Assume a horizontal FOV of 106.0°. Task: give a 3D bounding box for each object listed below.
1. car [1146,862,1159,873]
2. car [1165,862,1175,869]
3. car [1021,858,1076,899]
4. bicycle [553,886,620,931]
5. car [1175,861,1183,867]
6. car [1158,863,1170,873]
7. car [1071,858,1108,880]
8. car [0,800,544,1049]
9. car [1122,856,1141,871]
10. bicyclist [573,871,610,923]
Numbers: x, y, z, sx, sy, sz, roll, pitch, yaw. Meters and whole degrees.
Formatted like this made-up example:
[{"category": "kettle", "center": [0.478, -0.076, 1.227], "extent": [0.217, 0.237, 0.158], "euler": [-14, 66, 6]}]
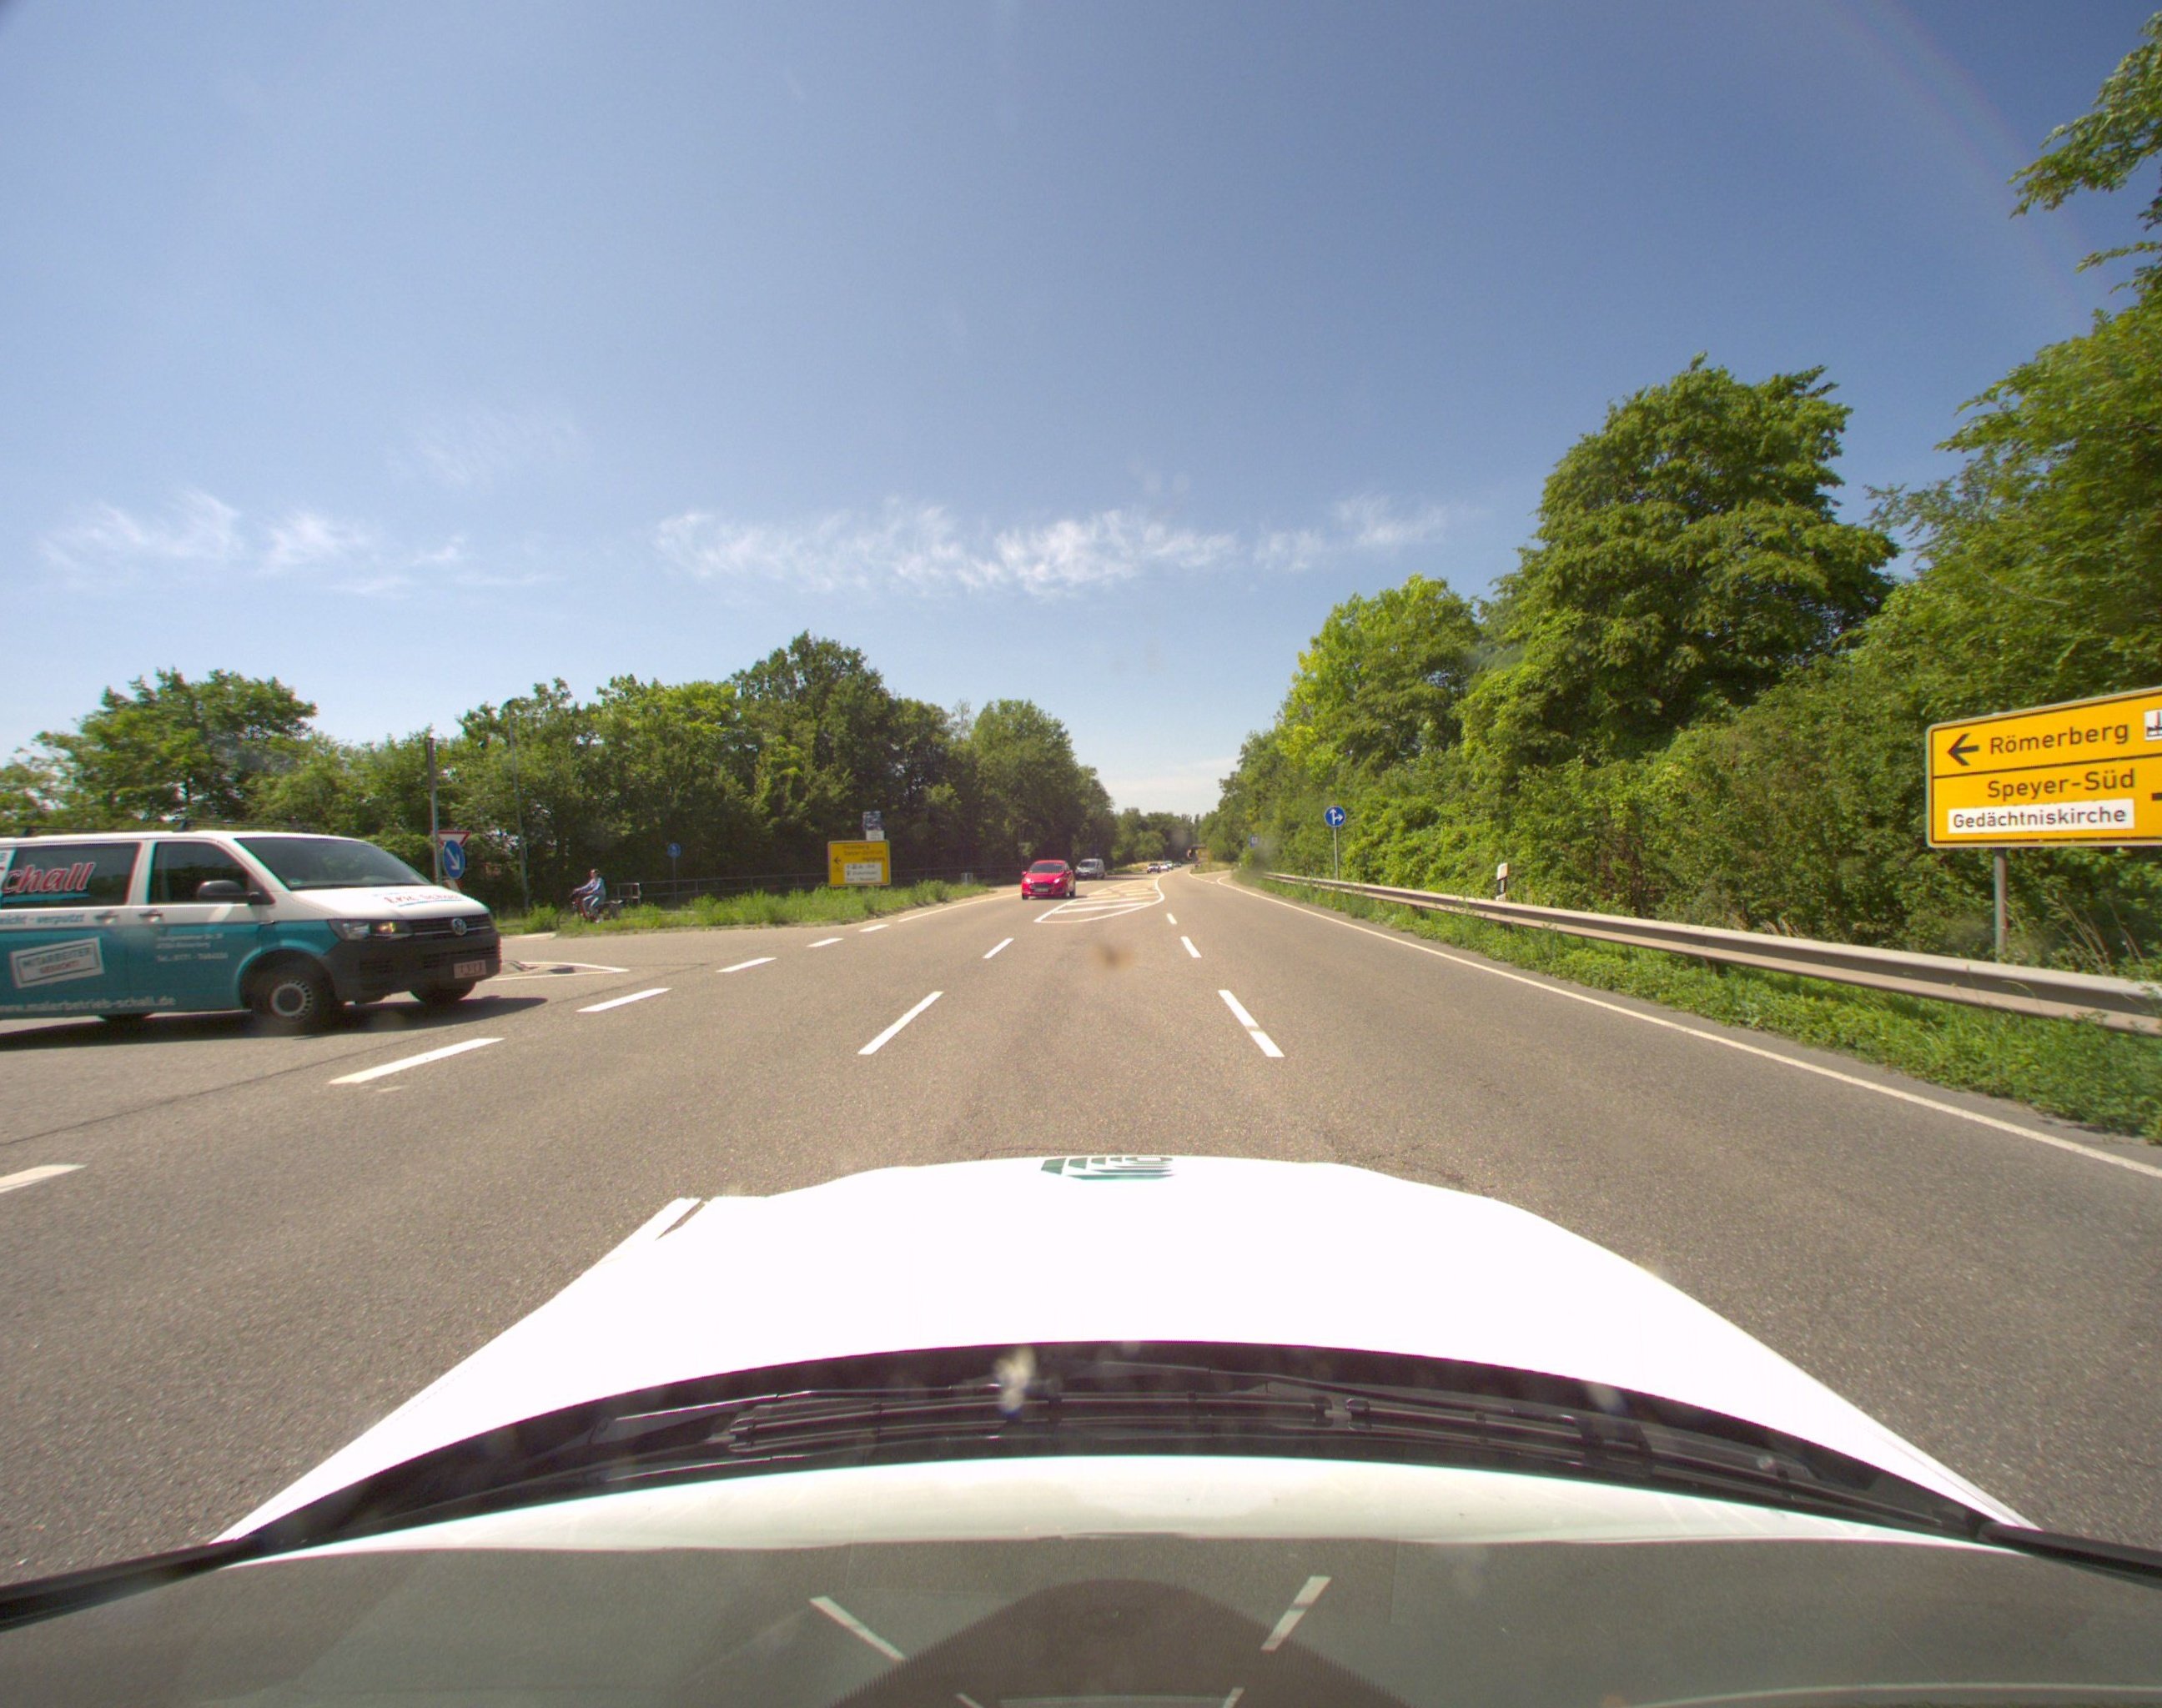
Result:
[{"category": "car", "center": [11.388, 2.128, 129.620], "extent": [1.667, 1.527, 4.011], "euler": [-2, 0, 10]}, {"category": "car", "center": [18.431, 2.374, 168.330], "extent": [1.710, 1.528, 3.718], "euler": [-2, 0, 9]}, {"category": "car", "center": [-1.196, 0.916, 31.424], "extent": [1.803, 1.458, 3.759], "euler": [-1, 0, 2]}, {"category": "bicycle", "center": [-13.286, 1.456, 21.919], "extent": [0.431, 1.113, 1.491], "euler": [-2, -1, 36]}, {"category": "car", "center": [24.704, 2.592, 205.723], "extent": [1.710, 1.509, 3.718], "euler": [-2, 0, 9]}, {"category": "car", "center": [14.741, 2.490, 144.754], "extent": [1.667, 1.527, 4.011], "euler": [-2, 0, 10]}, {"category": "car", "center": [0.773, 1.222, 69.134], "extent": [1.978, 1.730, 4.292], "euler": [-2, 0, 15]}, {"category": "car", "center": [-8.763, 0.671, 8.256], "extent": [5.155, 2.027, 1.999], "euler": [-3, 0, -1]}, {"category": "car", "center": [11.105, 2.120, 178.063], "extent": [2.004, 3.226, 4.767], "euler": [-1, 0, -26]}, {"category": "bicyclist", "center": [-13.220, 1.142, 22.005], "extent": [0.681, 1.363, 0.613], "euler": [-2, -1, 36]}]
